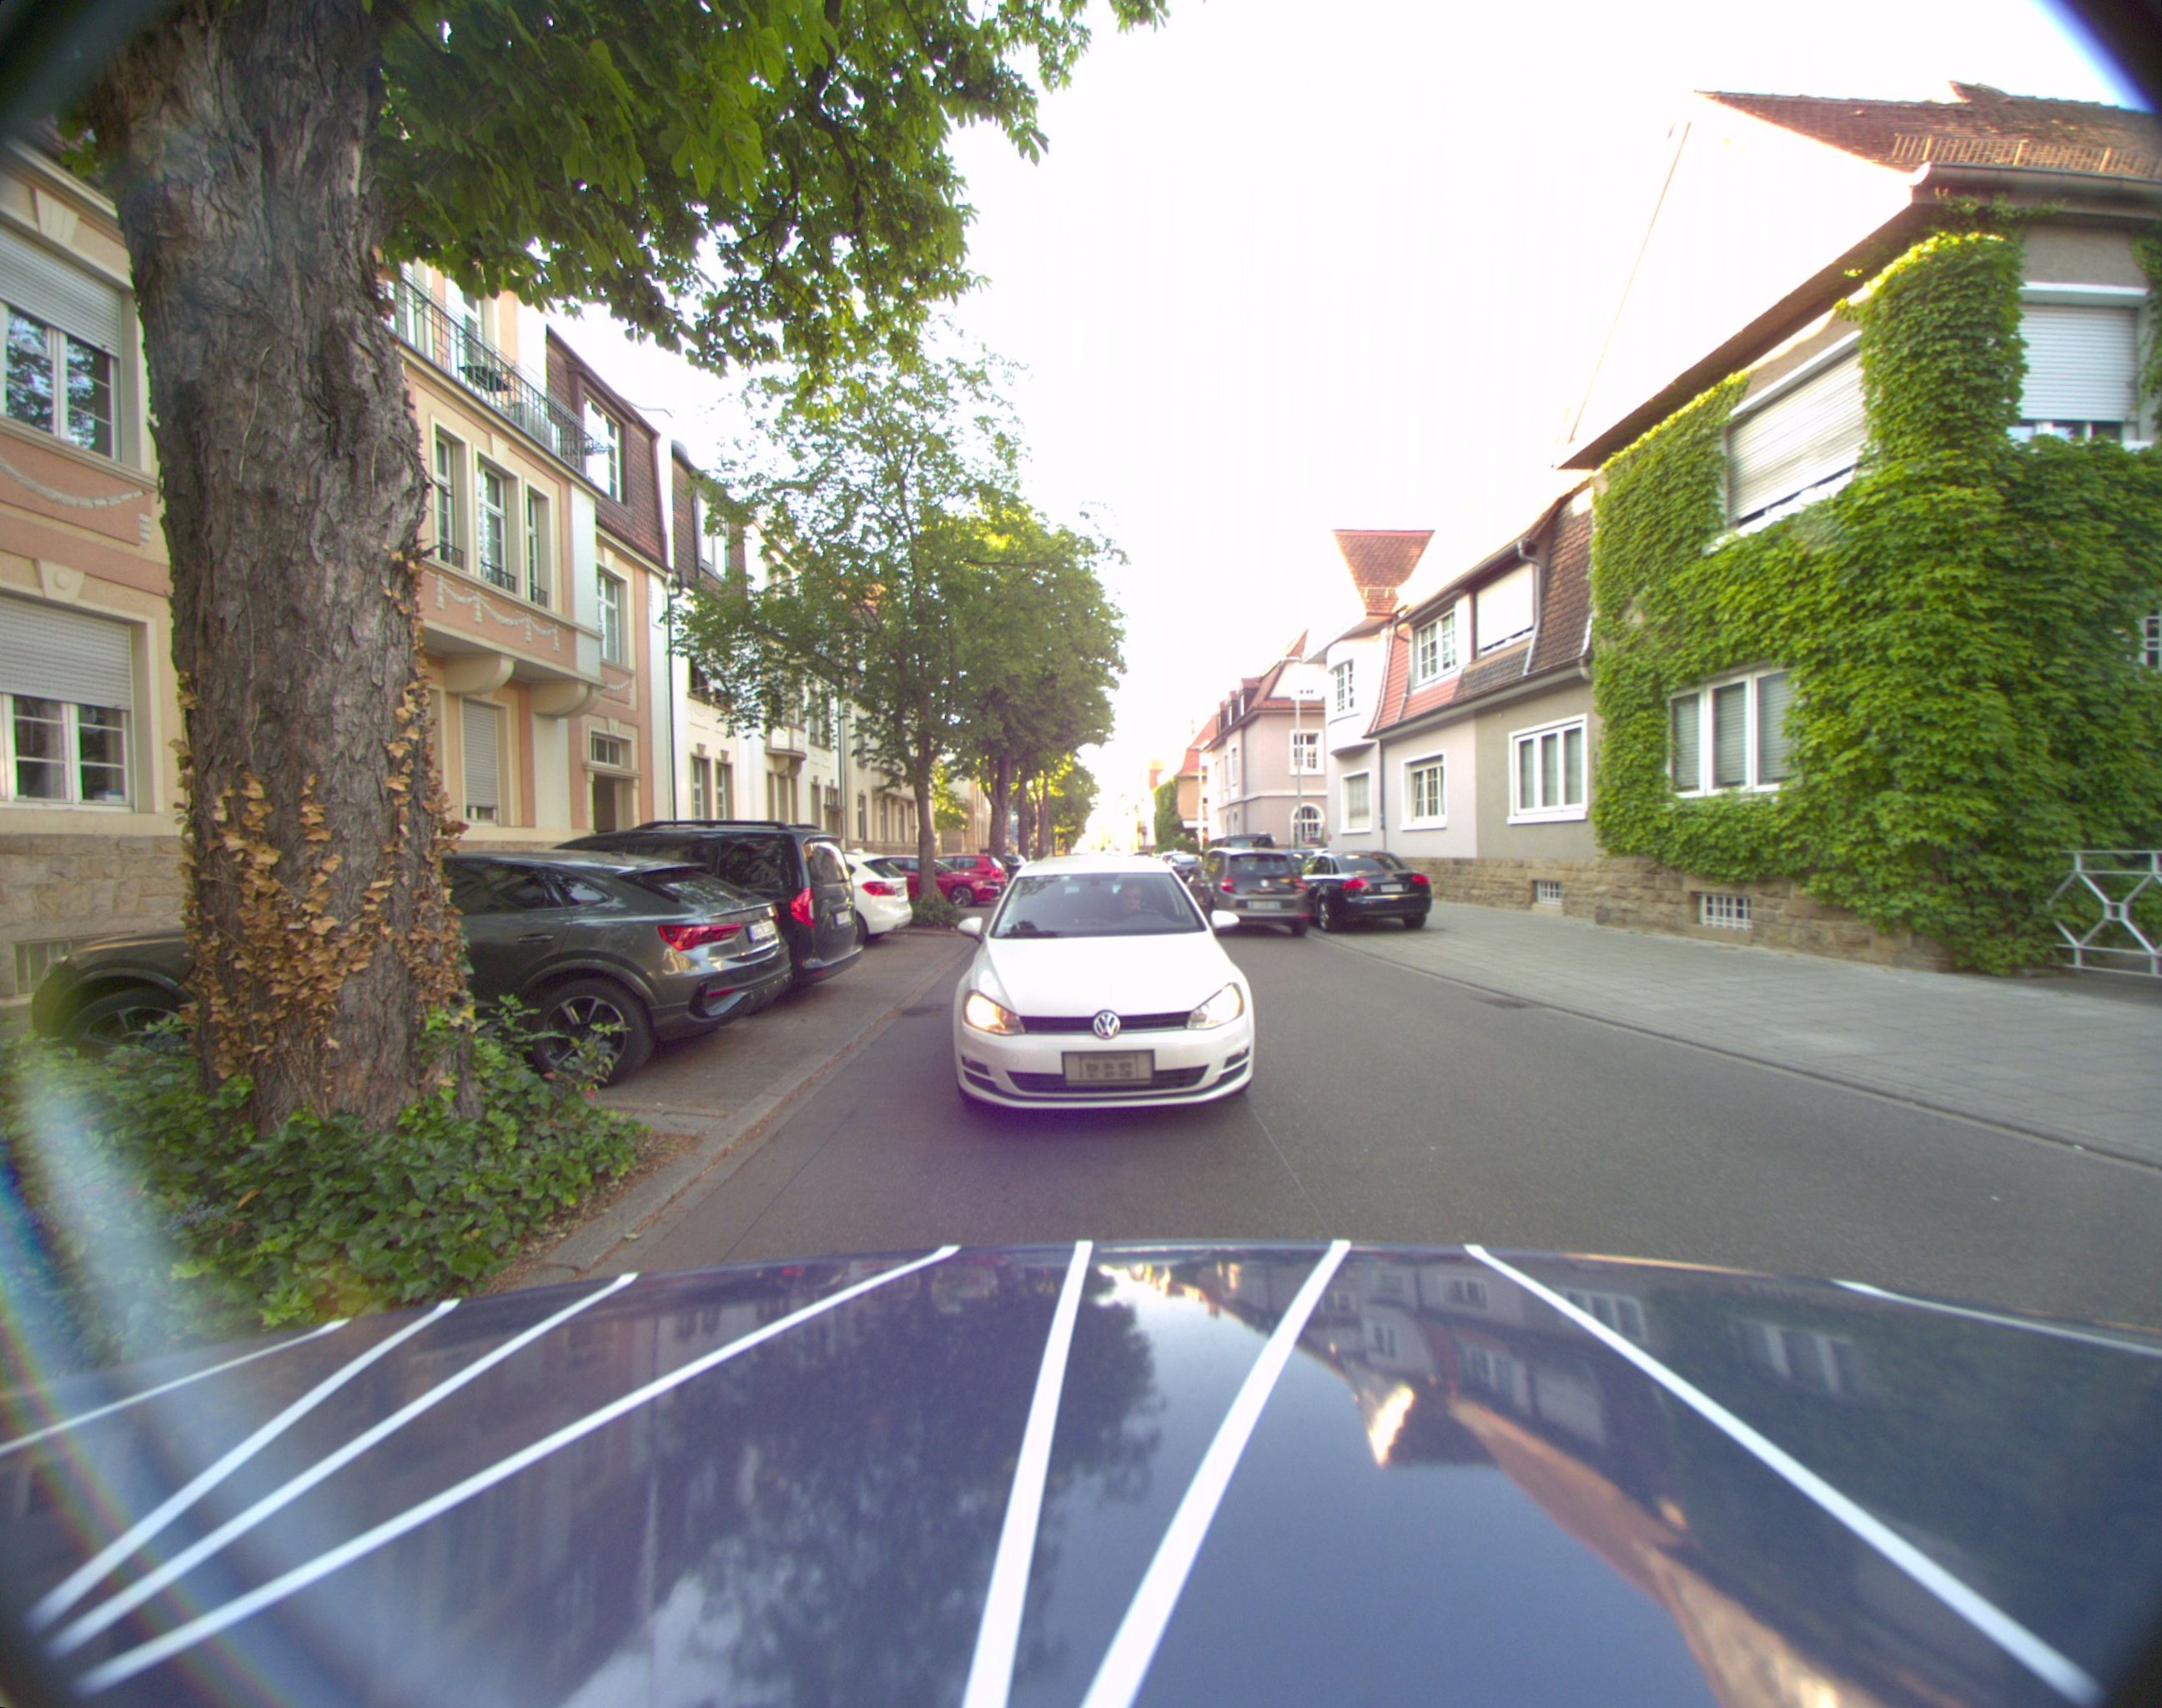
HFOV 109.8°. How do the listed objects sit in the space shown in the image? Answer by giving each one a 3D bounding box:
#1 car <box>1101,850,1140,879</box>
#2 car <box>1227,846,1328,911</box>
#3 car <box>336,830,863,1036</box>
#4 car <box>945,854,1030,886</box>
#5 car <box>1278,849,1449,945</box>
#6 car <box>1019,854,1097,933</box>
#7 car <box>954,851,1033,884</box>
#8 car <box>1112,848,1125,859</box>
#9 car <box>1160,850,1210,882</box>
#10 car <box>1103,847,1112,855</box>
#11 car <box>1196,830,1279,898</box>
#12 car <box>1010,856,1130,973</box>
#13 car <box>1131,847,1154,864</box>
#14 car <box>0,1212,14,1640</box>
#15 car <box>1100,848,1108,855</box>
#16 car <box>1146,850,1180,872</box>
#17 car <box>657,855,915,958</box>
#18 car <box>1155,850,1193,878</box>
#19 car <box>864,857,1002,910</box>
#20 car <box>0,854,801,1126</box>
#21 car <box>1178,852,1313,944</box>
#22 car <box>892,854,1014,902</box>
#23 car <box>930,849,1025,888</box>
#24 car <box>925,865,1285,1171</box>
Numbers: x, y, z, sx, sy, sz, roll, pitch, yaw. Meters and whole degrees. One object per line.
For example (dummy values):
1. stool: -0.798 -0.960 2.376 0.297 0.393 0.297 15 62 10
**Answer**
1. car: 2.101 0.553 41.448 1.786 1.453 4.299 1 0 -1
2. car: 5.222 0.587 20.752 1.611 1.455 4.023 -4 1 0
3. car: -4.480 0.701 7.600 4.173 1.816 1.594 1 1 -4
4. car: -4.145 0.707 34.079 3.622 1.395 1.537 0 1 0
5. car: 5.161 0.697 14.476 1.751 1.421 4.023 -4 1 1
6. car: -0.440 0.804 17.273 1.560 1.546 3.738 1 0 1
7. car: -4.205 0.625 36.879 3.622 1.555 1.537 0 1 0
8. car: 5.695 -0.110 115.876 1.643 1.461 3.689 -3 1 0
9. car: 4.976 0.537 36.846 1.719 1.363 4.334 -3 0 0
10. car: 5.226 -0.580 149.402 1.643 1.461 3.689 -3 1 0
11. car: 5.137 0.270 25.490 1.719 1.961 4.310 -4 1 0
12. car: -0.123 0.826 12.289 1.600 1.546 4.000 1 0 1
13. car: 5.483 0.117 68.258 1.643 1.461 3.945 -3 0 0
14. car: -4.667 0.780 0.523 4.835 1.814 1.880 1 1 -4
15. car: 5.140 -0.499 173.170 1.643 1.461 3.689 -3 1 0
16. car: 5.439 0.442 50.657 1.719 1.363 3.945 -3 0 0
17. car: -4.665 0.811 12.393 3.623 1.541 1.537 1 1 -4
18. car: 5.111 0.523 42.165 1.541 1.363 3.945 -3 0 0
19. car: -4.178 0.817 21.806 3.622 1.395 1.537 1 1 0
20. car: -4.373 0.828 5.421 4.173 1.583 1.594 1 1 -4
21. car: 2.973 0.739 14.445 1.620 1.493 3.591 1 1 -3
22. car: -4.048 0.750 24.348 3.622 1.456 1.537 1 1 0
23. car: -4.176 0.562 30.950 3.622 1.555 1.537 0 1 0
24. car: 0.088 0.869 5.917 1.799 1.420 4.023 -2 0 -1
